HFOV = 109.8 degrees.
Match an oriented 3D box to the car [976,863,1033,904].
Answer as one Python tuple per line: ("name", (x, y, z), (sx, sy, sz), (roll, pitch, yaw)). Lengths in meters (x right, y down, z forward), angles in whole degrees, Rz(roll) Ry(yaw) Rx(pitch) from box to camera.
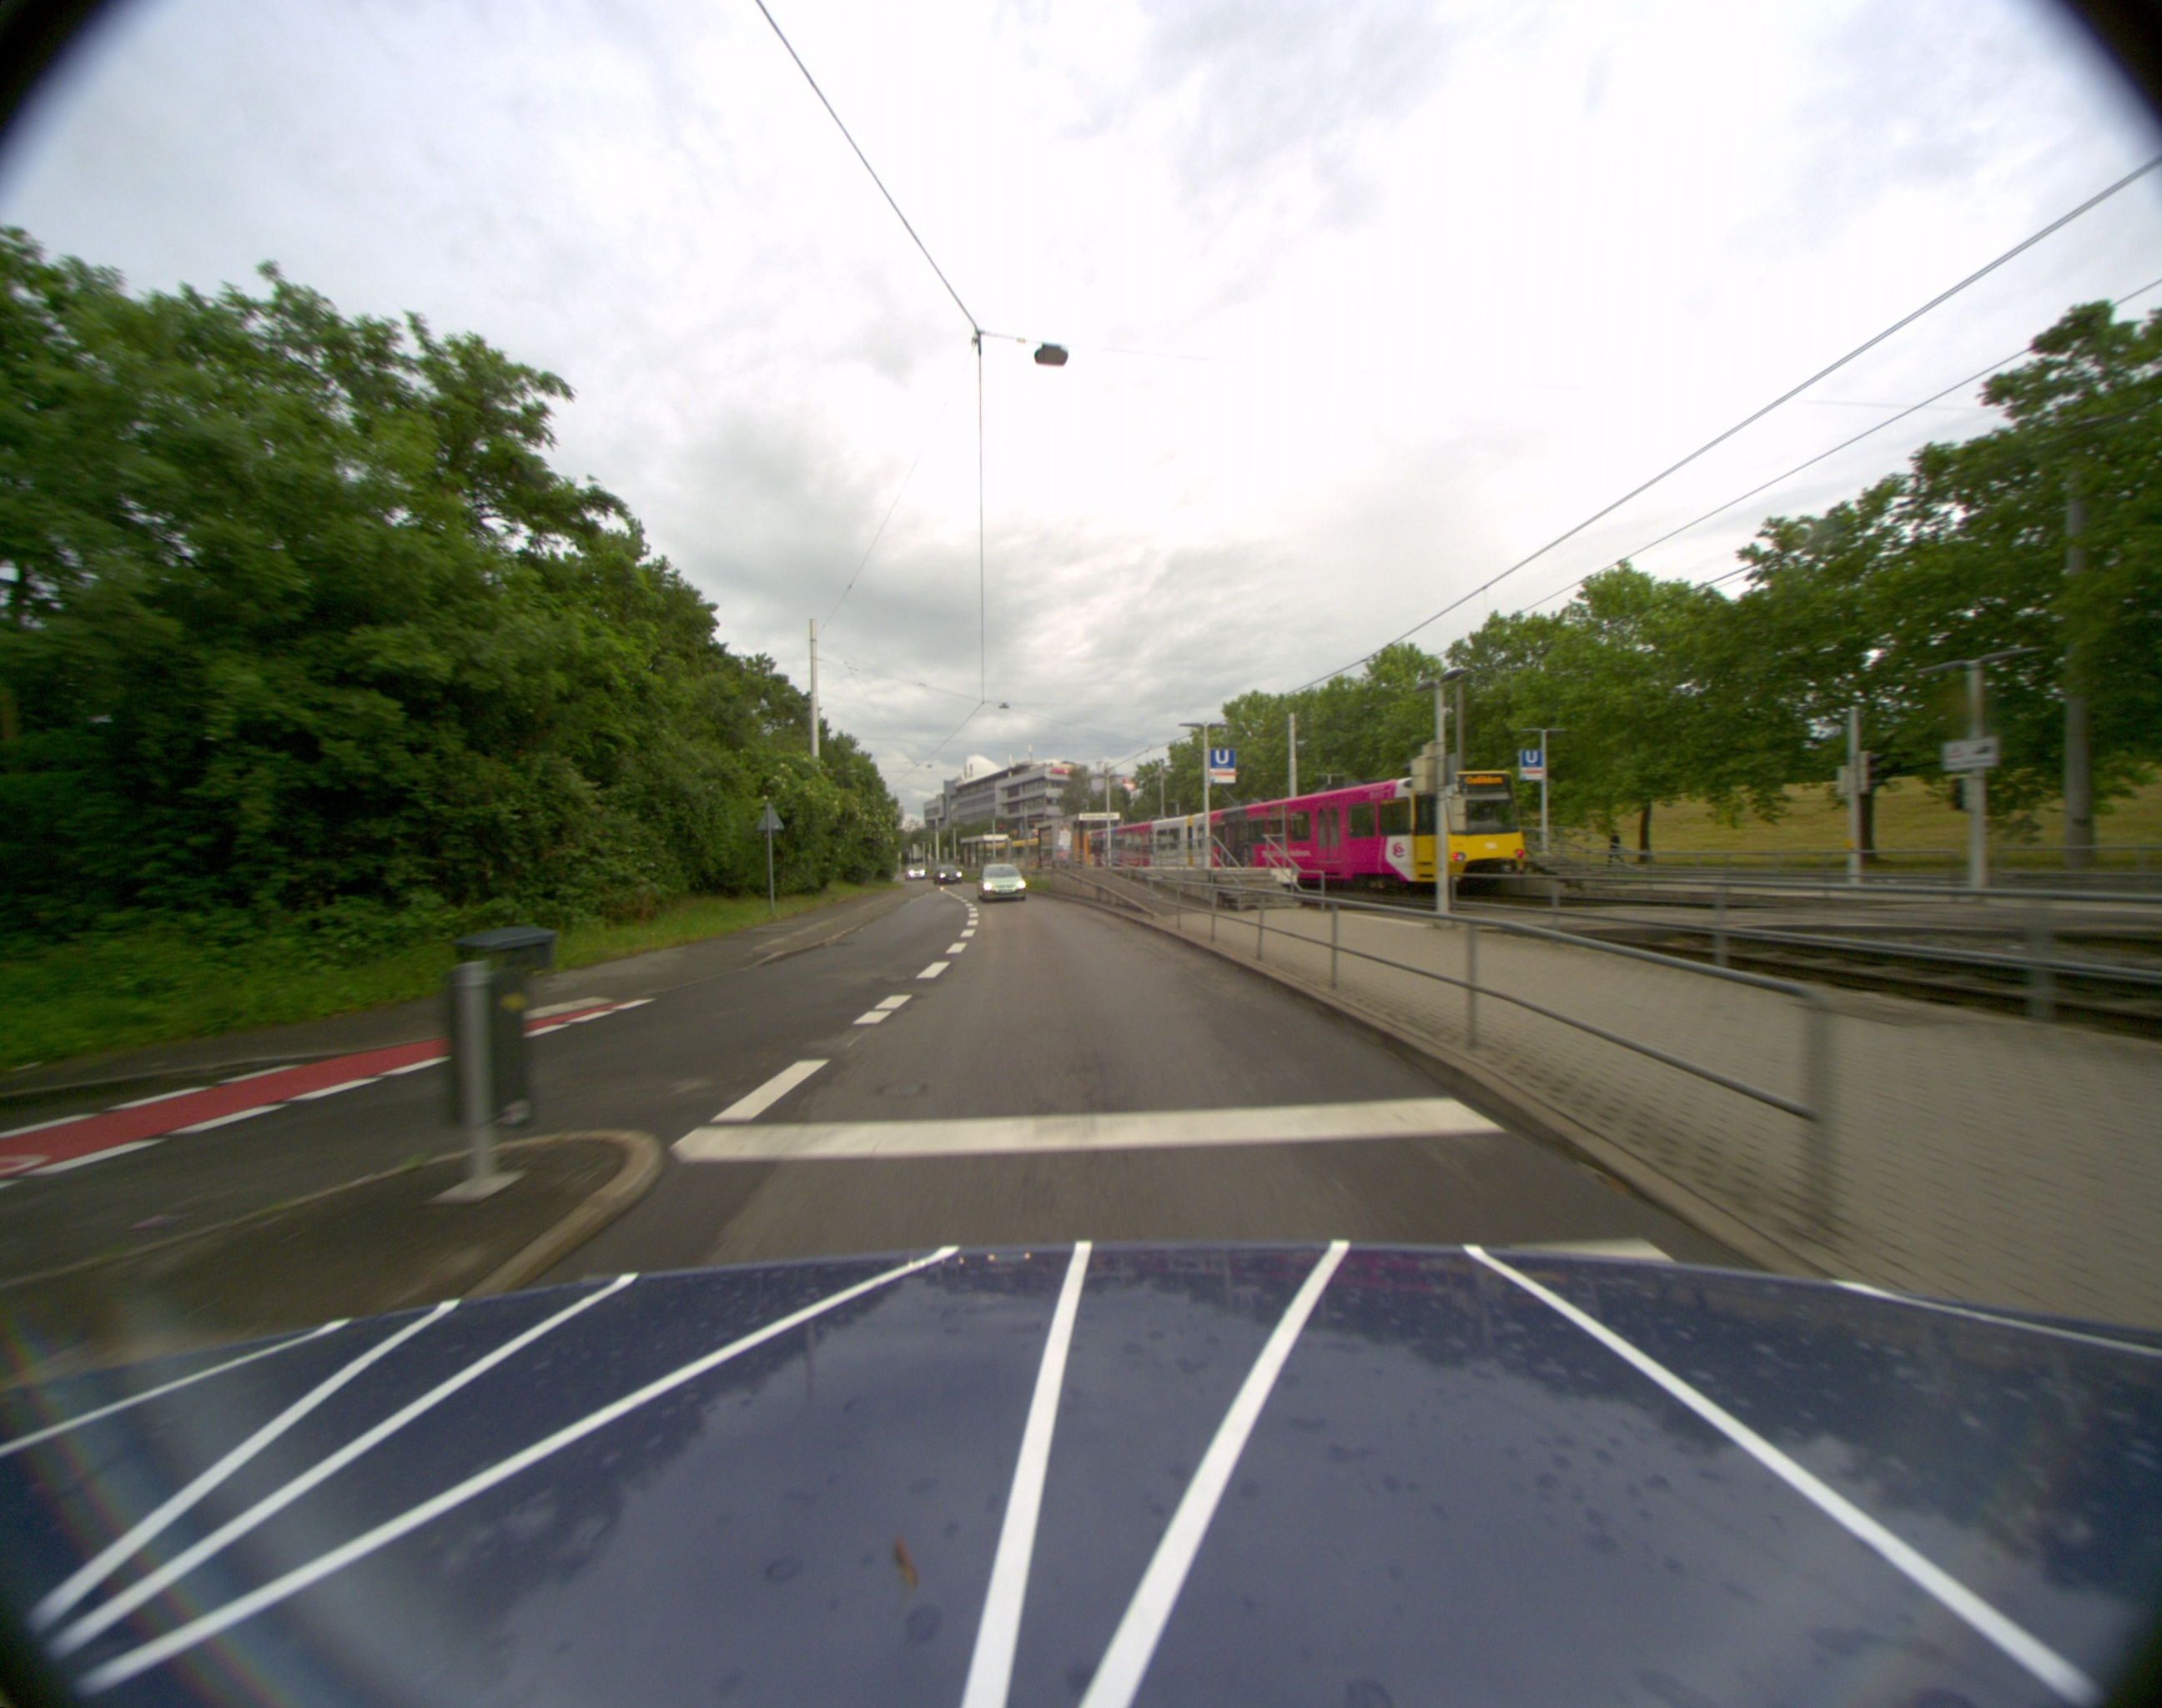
("car", (-3.216, 1.169, 31.326), (1.782, 1.493, 3.995), (-1, 1, -14))

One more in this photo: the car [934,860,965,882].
("car", (-10.187, 1.292, 58.684), (1.783, 1.493, 3.994), (-3, 0, -18))

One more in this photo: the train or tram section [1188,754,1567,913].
("train or tram section", (9.087, -0.616, 29.012), (2.878, 3.938, 19.306), (-4, 1, -13))

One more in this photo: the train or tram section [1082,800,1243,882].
("train or tram section", (4.191, -0.717, 47.702), (2.878, 3.948, 19.302), (-4, 1, -16))

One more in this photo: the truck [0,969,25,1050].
("truck", (-28.942, 4.220, 18.394), (2.713, 2.002, 5.748), (-3, 1, -42))

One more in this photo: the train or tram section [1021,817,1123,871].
("train or tram section", (-1.362, -0.767, 66.005), (2.879, 3.932, 19.298), (-4, 1, -18))

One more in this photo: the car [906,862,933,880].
("car", (-15.927, 1.650, 74.719), (2.001, 1.563, 3.993), (-4, 1, -19))

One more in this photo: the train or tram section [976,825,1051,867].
("train or tram section", (-7.885, -0.754, 84.232), (2.879, 3.950, 19.296), (-4, 1, -21))

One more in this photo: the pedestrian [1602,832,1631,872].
("pedestrian", (25.032, -0.102, 35.533), (0.730, 1.810, 0.764), (-3, 1, 1))
